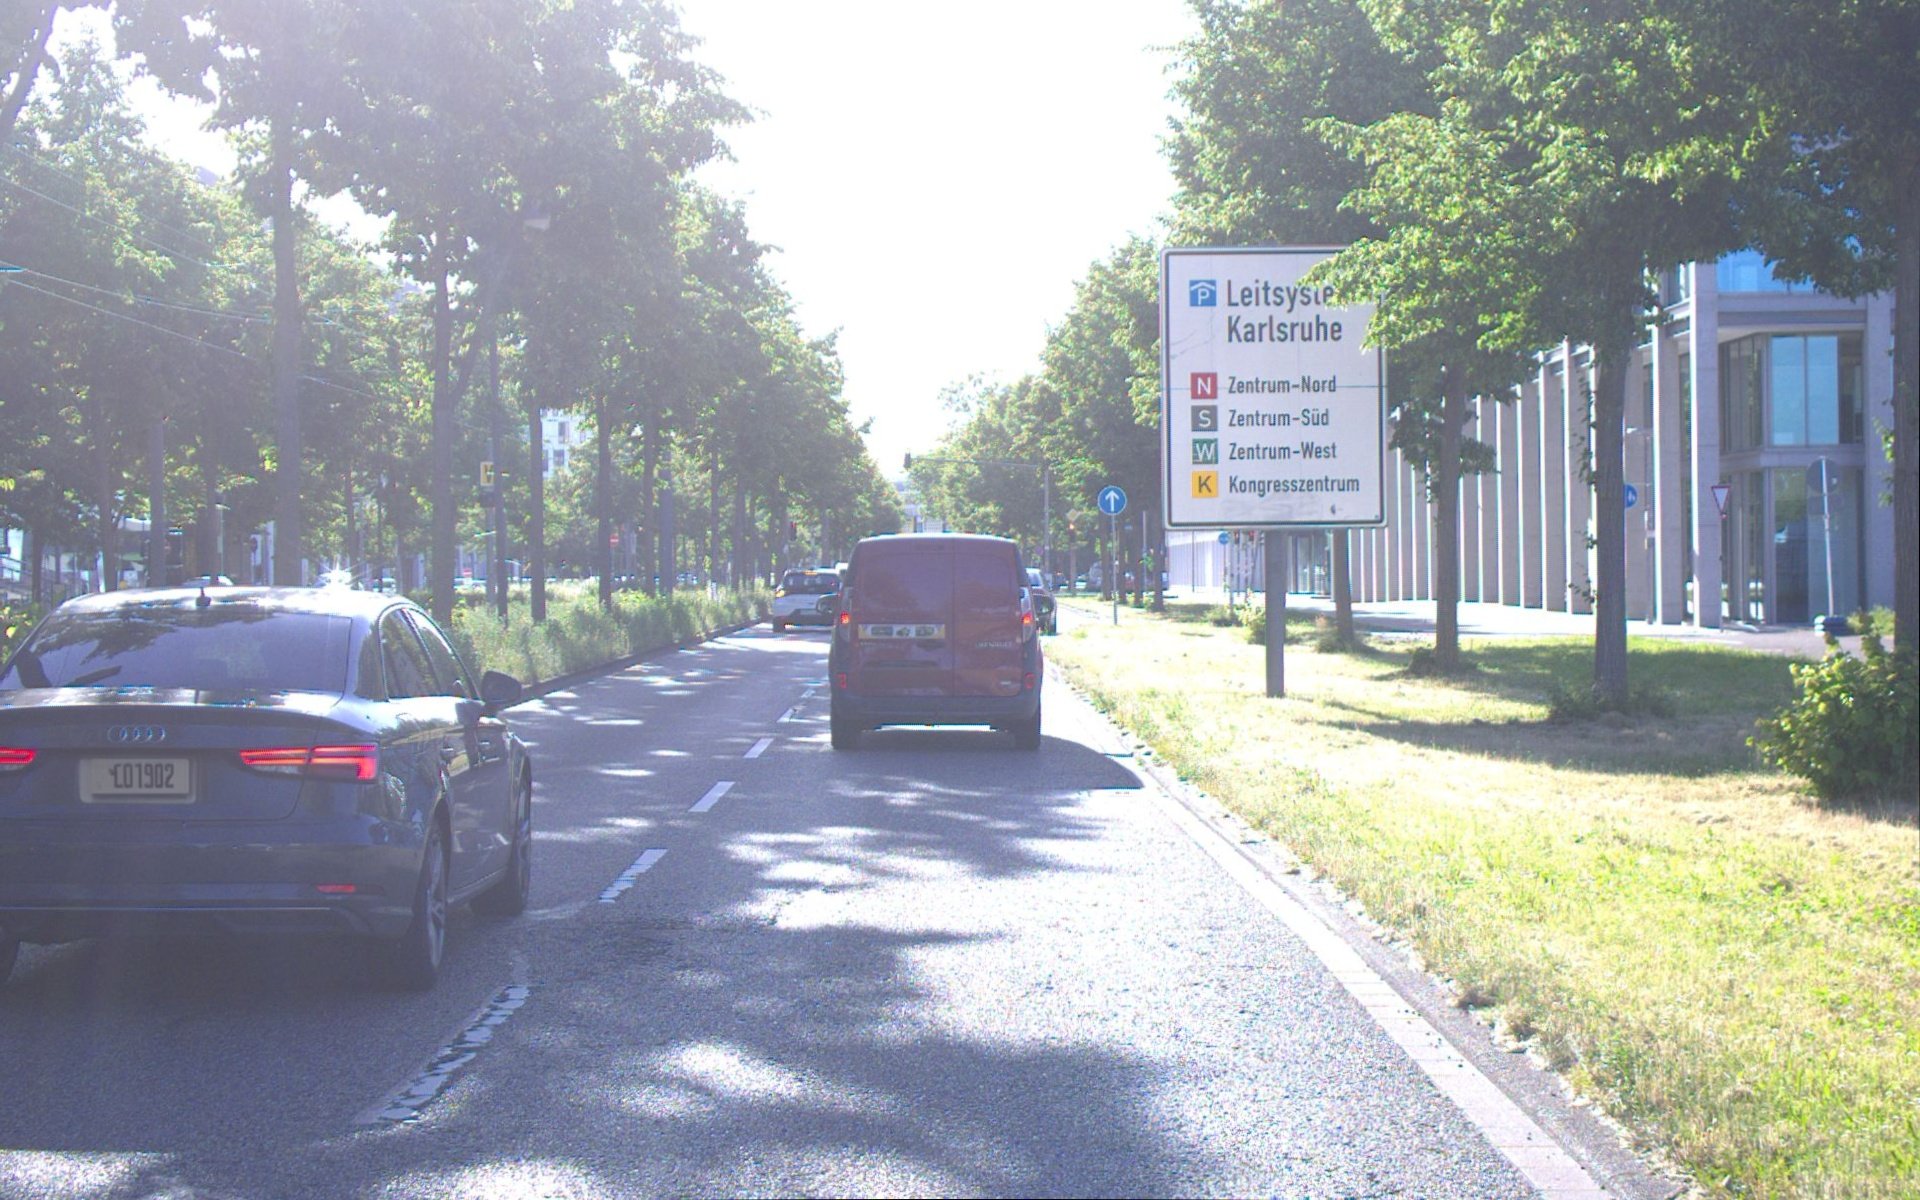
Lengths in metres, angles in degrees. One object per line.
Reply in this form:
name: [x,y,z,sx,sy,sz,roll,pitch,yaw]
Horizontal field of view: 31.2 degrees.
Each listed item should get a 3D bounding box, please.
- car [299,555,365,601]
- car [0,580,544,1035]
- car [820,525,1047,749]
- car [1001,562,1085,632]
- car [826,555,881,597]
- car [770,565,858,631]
car: [-24.094,-0.853,131.968,1.797,1.683,4.321,1,1,-1]
car: [-2.667,0.645,12.935,1.721,1.361,4.146,1,1,-1]
car: [-0.260,0.276,29.776,1.797,1.771,4.000,1,1,-1]
car: [1.821,-0.087,76.691,1.721,1.420,3.817,1,2,-1]
car: [-3.947,-0.905,127.966,1.843,1.529,3.940,-1,1,1]
car: [-3.318,-0.057,78.264,1.942,1.436,4.000,-1,1,-2]
